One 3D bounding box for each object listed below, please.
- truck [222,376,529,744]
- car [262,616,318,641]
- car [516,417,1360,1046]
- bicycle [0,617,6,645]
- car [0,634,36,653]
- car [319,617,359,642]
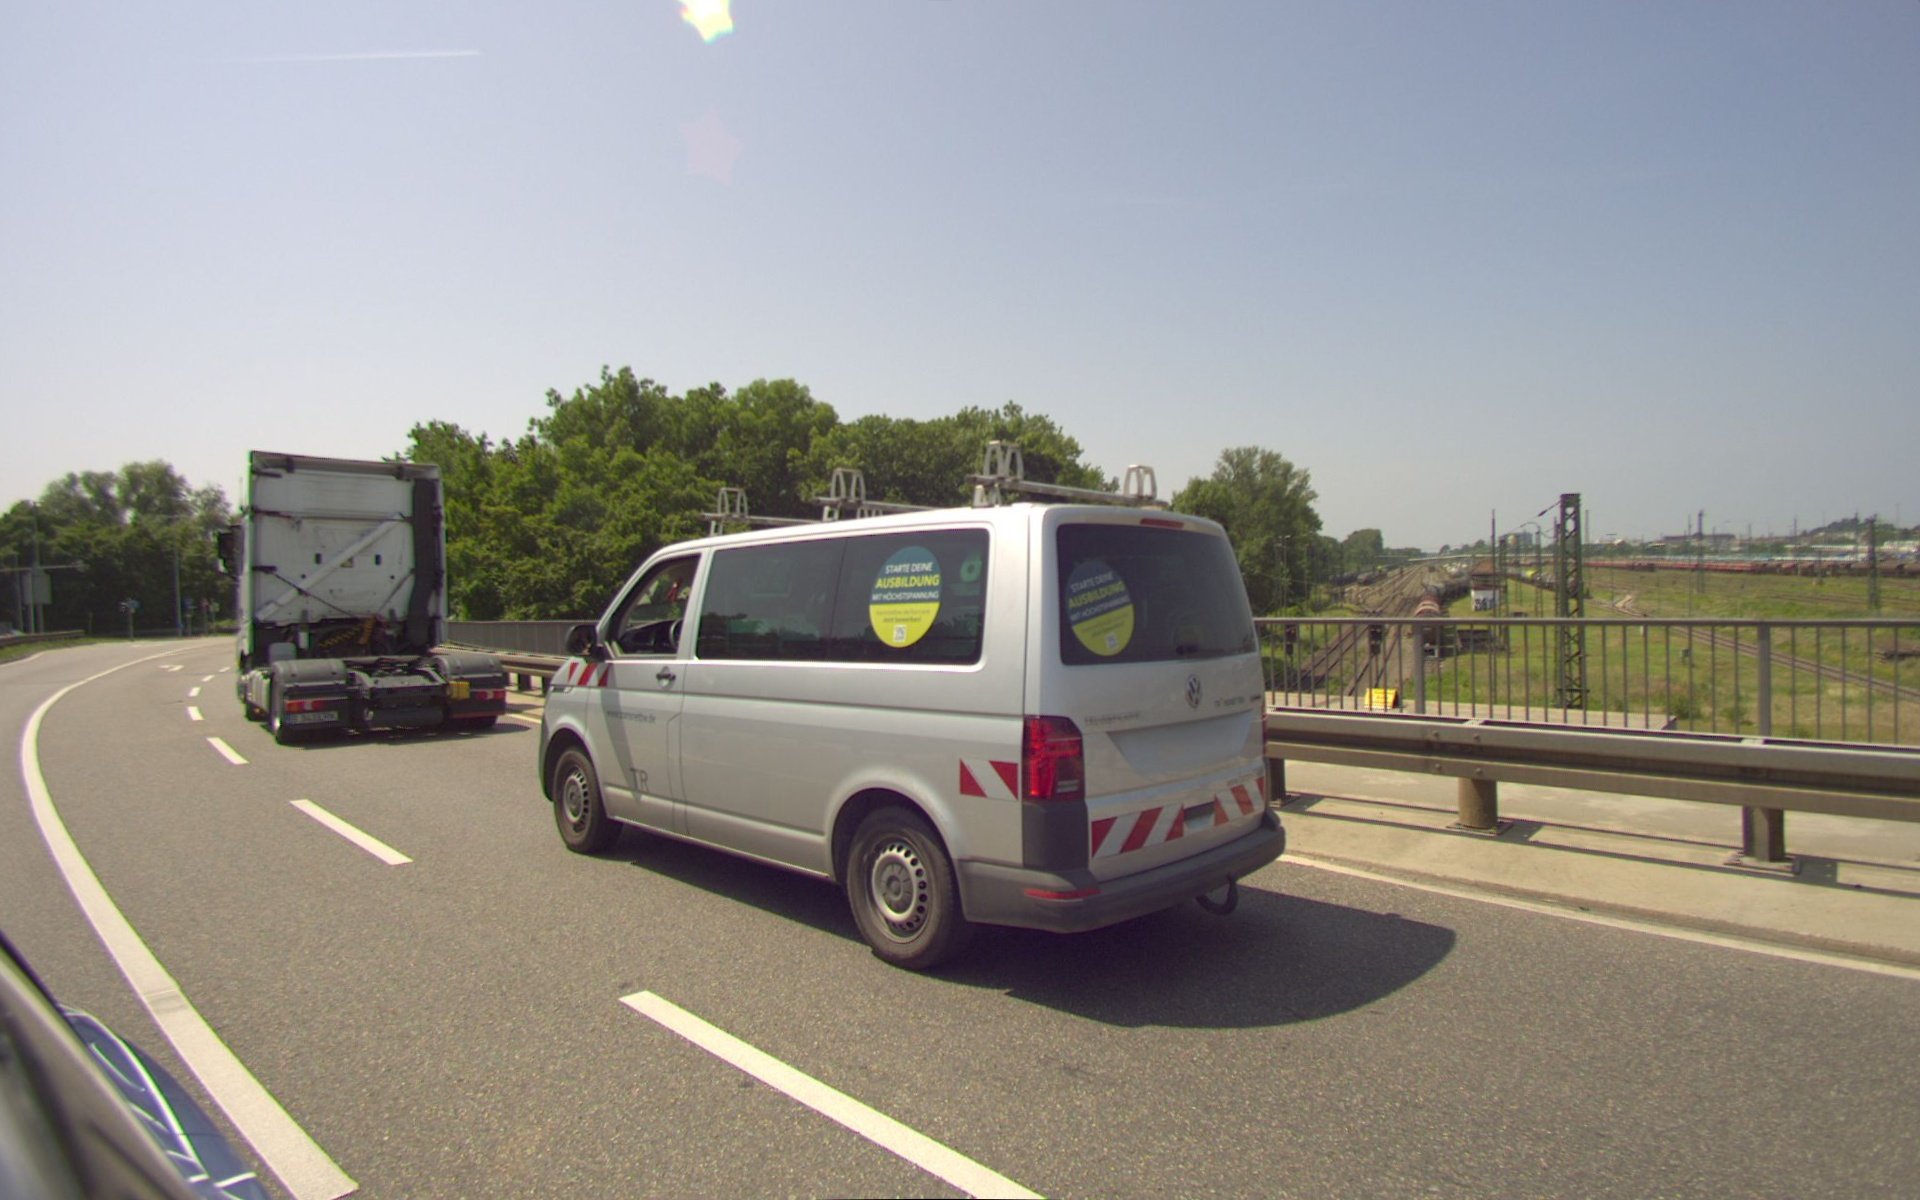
[{"bbox_3d":[-8.457,-0.361,14.269,2.672,4.022,6.195,1,-2,-40],"label":"truck"},{"bbox_3d":[-39.415,1.641,59.624,1.802,1.417,4.904,0,-1,-22],"label":"car"},{"bbox_3d":[-0.562,0.465,5.607,4.816,2.015,1.840,-2,-1,45],"label":"car"},{"bbox_3d":[-55.897,1.827,57.772,2.343,1.586,0.656,-2,0,3],"label":"bicycle"},{"bbox_3d":[-75.287,3.453,79.316,4.126,1.364,1.755,-2,0,-2],"label":"car"},{"bbox_3d":[-43.997,2.081,71.803,1.802,1.651,4.593,0,-1,-24],"label":"car"}]
